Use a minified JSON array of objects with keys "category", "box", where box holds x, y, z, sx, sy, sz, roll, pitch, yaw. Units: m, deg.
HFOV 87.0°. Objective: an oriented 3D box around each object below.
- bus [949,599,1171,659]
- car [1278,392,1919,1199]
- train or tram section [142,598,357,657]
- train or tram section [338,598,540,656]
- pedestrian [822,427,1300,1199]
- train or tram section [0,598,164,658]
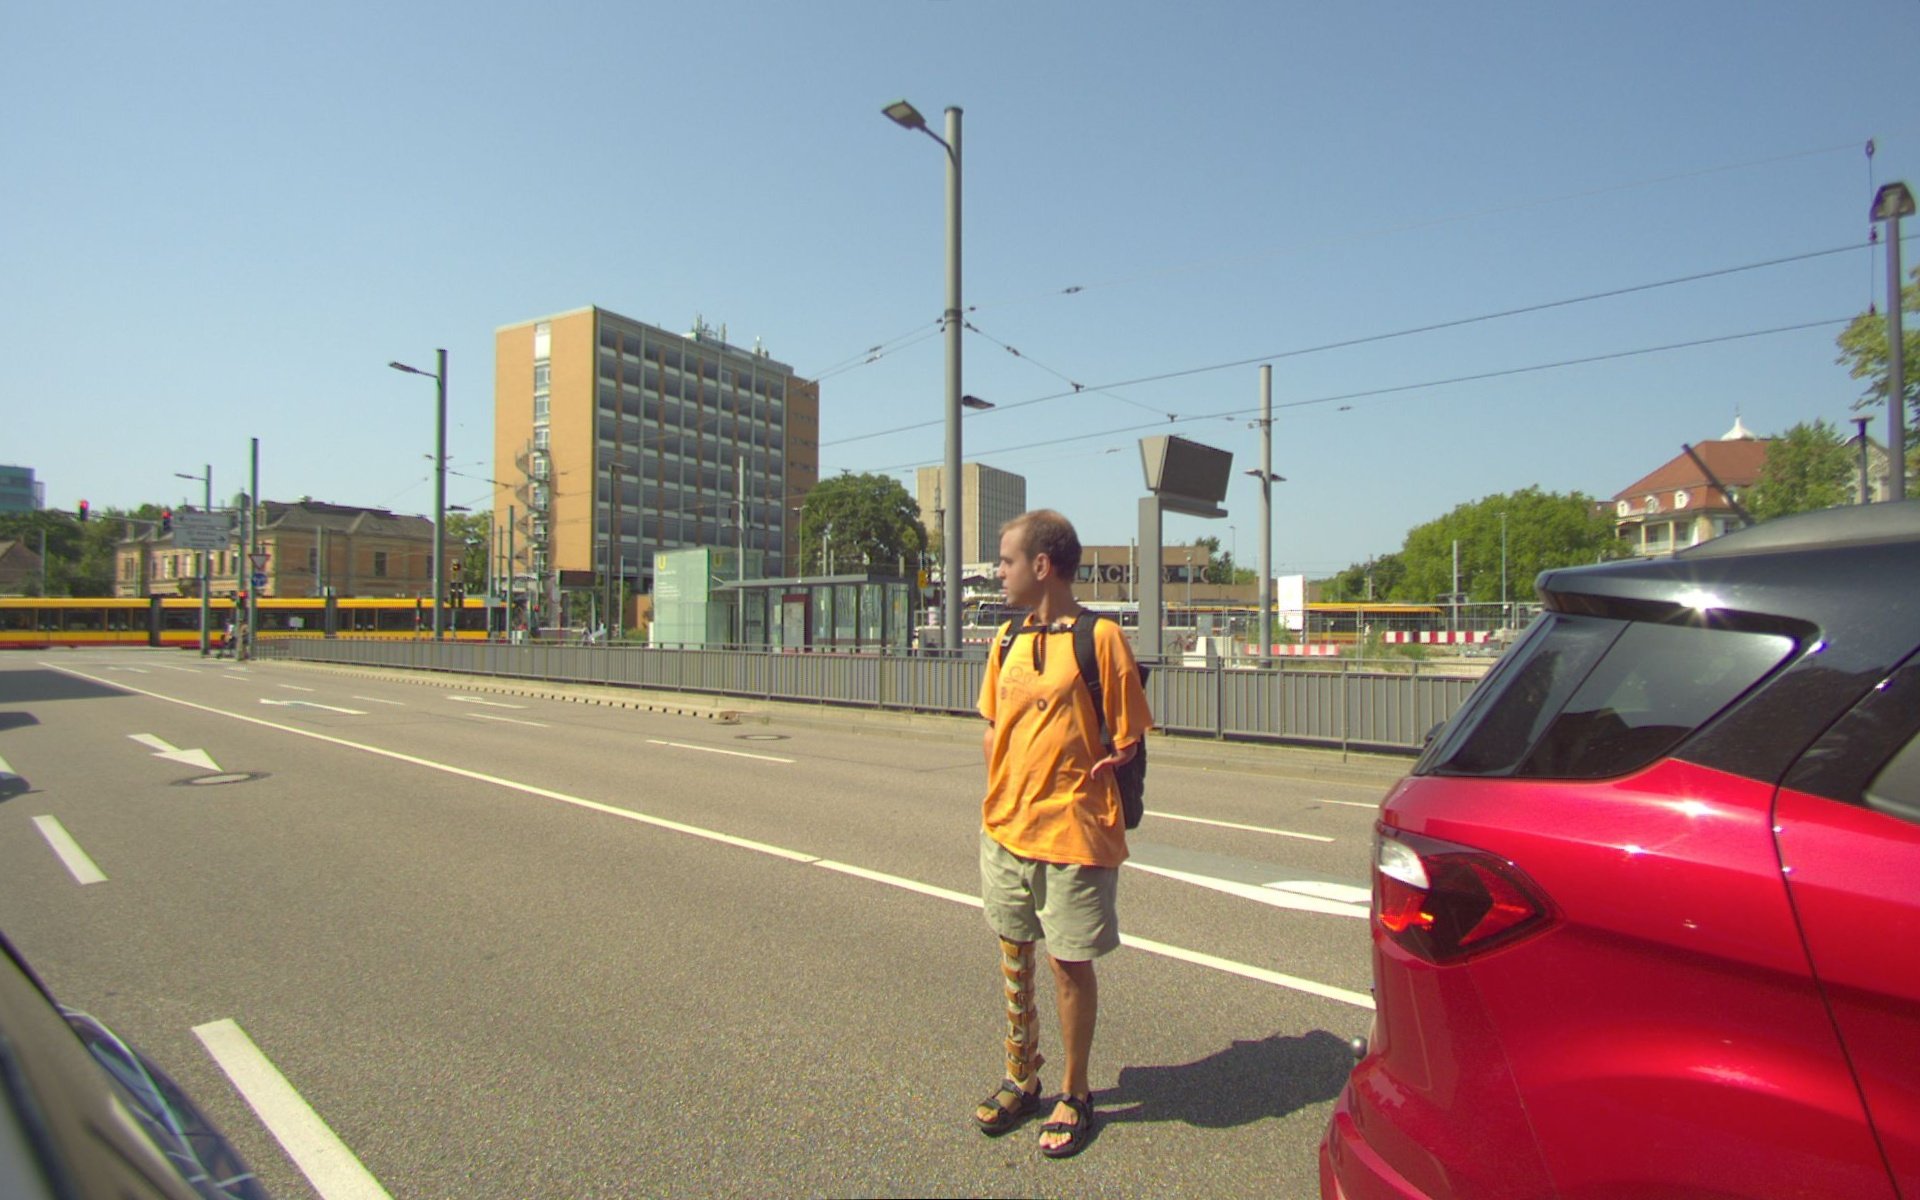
[{"category":"bus","box":[6.057,1.751,62.745,13.209,3.319,3.353,-1,0,-3]},{"category":"car","box":[2.495,0.569,0.811,3.968,1.633,1.612,-1,-1,44]},{"category":"train or tram section","box":[-46.777,1.822,66.839,12.178,3.794,2.002,0,-2,-5]},{"category":"train or tram section","box":[-34.691,1.838,67.648,12.183,3.794,2.001,0,-2,-3]},{"category":"pedestrian","box":[0.361,0.545,2.751,0.961,1.754,1.230,-1,-1,23]},{"category":"train or tram section","box":[-58.880,1.794,65.421,12.170,3.794,2.004,0,-2,-9]}]
